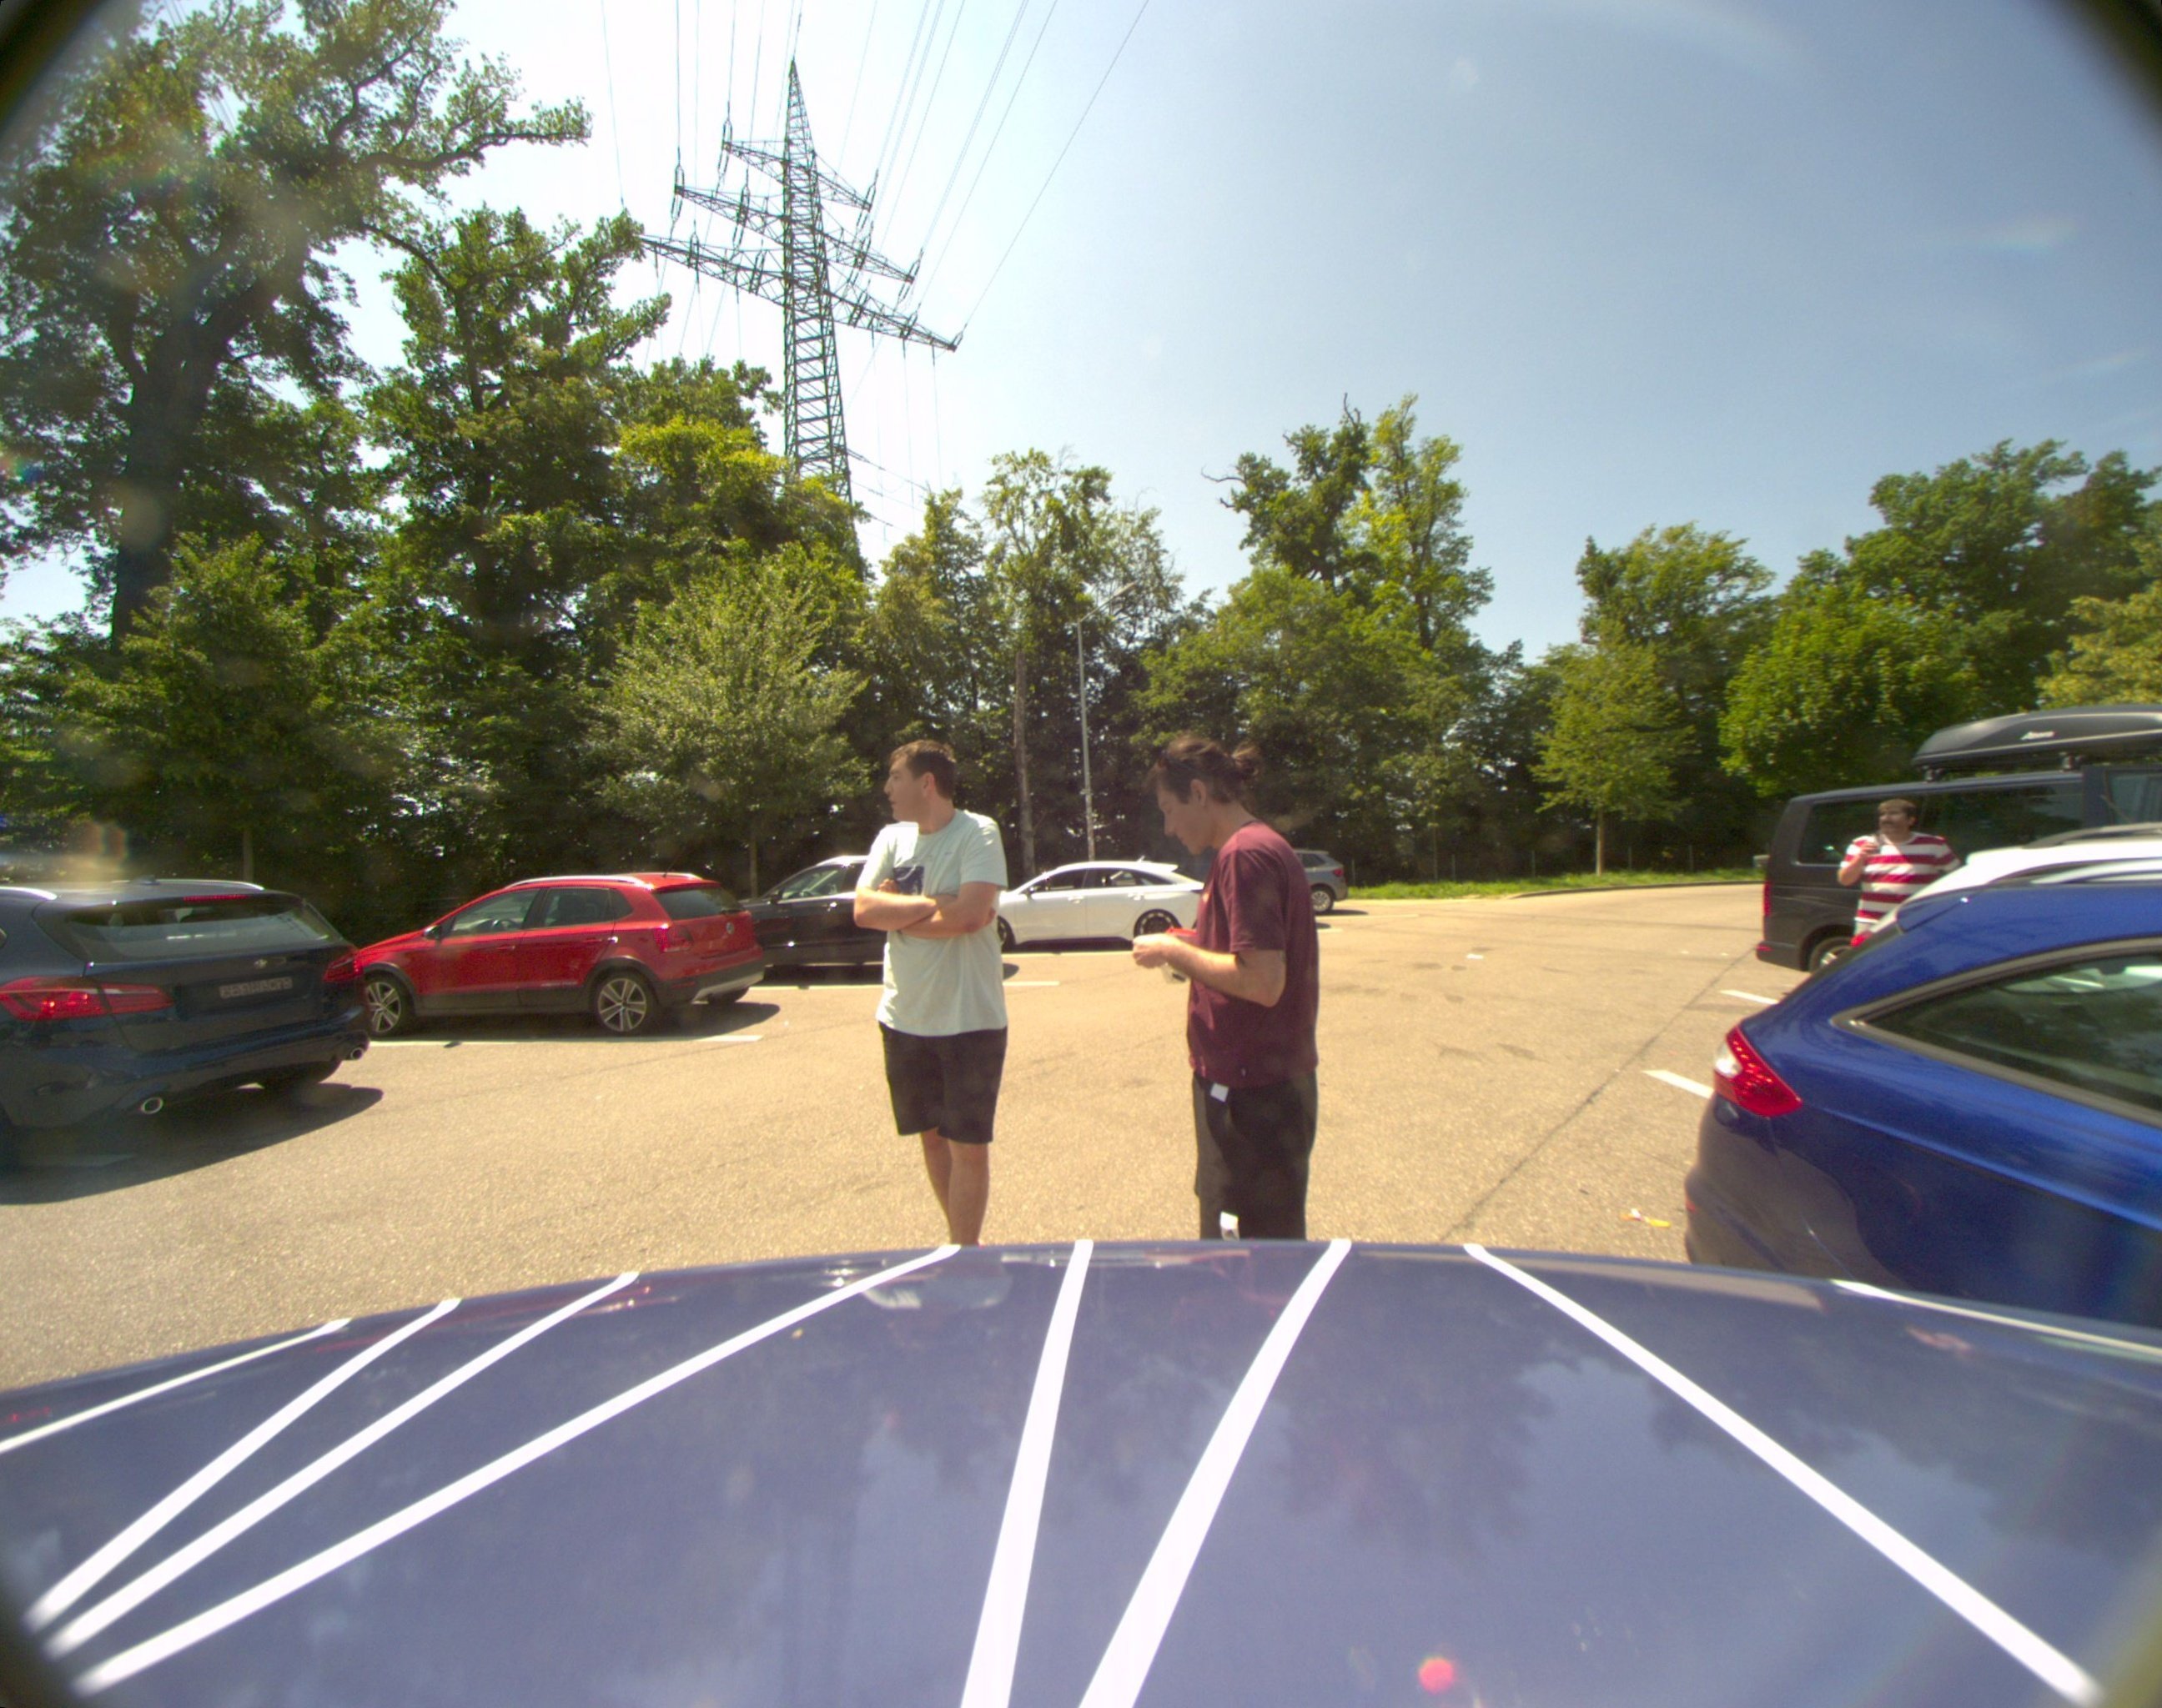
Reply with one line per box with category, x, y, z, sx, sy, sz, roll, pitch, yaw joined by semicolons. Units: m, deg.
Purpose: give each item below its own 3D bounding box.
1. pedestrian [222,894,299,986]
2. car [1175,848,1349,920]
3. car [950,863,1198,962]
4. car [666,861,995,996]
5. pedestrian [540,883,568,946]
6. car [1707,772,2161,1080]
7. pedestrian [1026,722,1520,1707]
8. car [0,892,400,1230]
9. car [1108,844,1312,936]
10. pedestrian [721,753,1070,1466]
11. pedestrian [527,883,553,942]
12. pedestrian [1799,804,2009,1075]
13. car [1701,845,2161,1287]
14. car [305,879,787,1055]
pedestrian;-11.856;1.220;10.997;0.595;1.238;0.499;-3;1;-33
car;4.272;0.699;18.161;3.822;1.551;1.652;-2;1;12
car;-0.069;0.925;12.684;3.825;1.394;1.651;-2;1;4
car;-3.244;0.953;10.309;3.825;1.546;1.651;-2;1;4
pedestrian;-10.158;1.154;14.634;0.357;1.158;0.384;-3;2;-41
car;7.379;0.408;5.293;1.758;1.886;4.571;-3;-1;-9
pedestrian;0.472;0.709;1.939;0.919;1.894;0.815;-2;1;16
car;-7.125;1.101;4.702;4.340;1.544;1.748;-1;1;4
car;2.613;0.702;15.466;3.822;1.686;1.652;-2;1;12
pedestrian;-0.512;0.708;2.531;0.813;1.939;0.921;-2;1;3
pedestrian;-11.003;1.177;15.450;0.357;1.158;0.384;-3;2;-41
pedestrian;5.822;0.549;5.398;0.786;1.744;0.754;-3;1;-20
car;4.651;0.723;2.261;1.757;1.496;4.574;-3;-1;-1
car;-5.226;1.082;7.680;3.823;1.460;1.651;-2;1;8
